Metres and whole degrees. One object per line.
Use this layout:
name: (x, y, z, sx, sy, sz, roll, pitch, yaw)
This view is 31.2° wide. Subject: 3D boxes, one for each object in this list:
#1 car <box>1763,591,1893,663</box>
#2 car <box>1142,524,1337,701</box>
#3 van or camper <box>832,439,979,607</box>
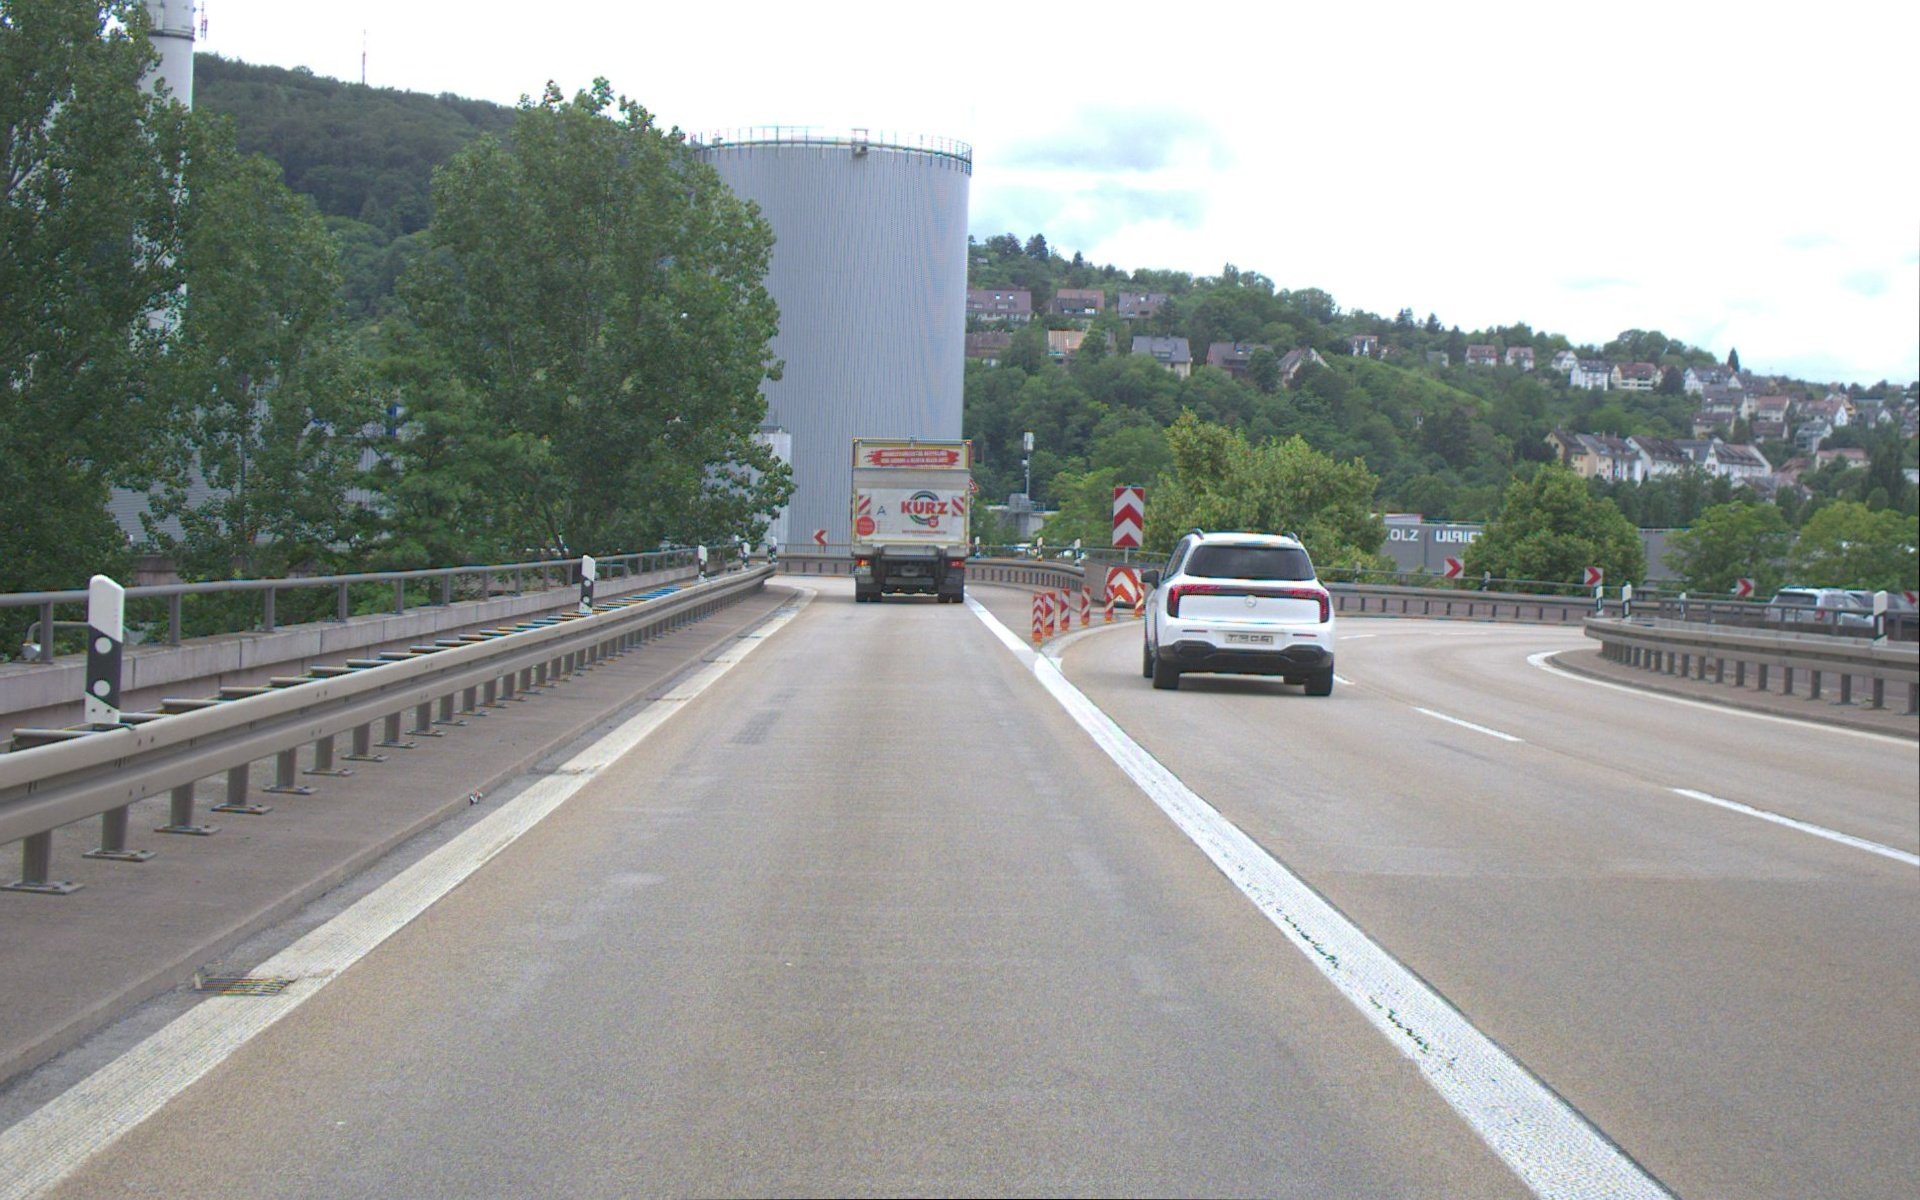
car: (23.238, 0.698, 91.950, 1.928, 1.779, 4.104, 1, 2, 37)
car: (2.947, 0.082, 36.975, 1.924, 1.779, 4.113, 1, 1, 3)
van or camper: (-1.180, -1.695, 77.663, 3.122, 3.567, 8.550, 0, 1, 0)
